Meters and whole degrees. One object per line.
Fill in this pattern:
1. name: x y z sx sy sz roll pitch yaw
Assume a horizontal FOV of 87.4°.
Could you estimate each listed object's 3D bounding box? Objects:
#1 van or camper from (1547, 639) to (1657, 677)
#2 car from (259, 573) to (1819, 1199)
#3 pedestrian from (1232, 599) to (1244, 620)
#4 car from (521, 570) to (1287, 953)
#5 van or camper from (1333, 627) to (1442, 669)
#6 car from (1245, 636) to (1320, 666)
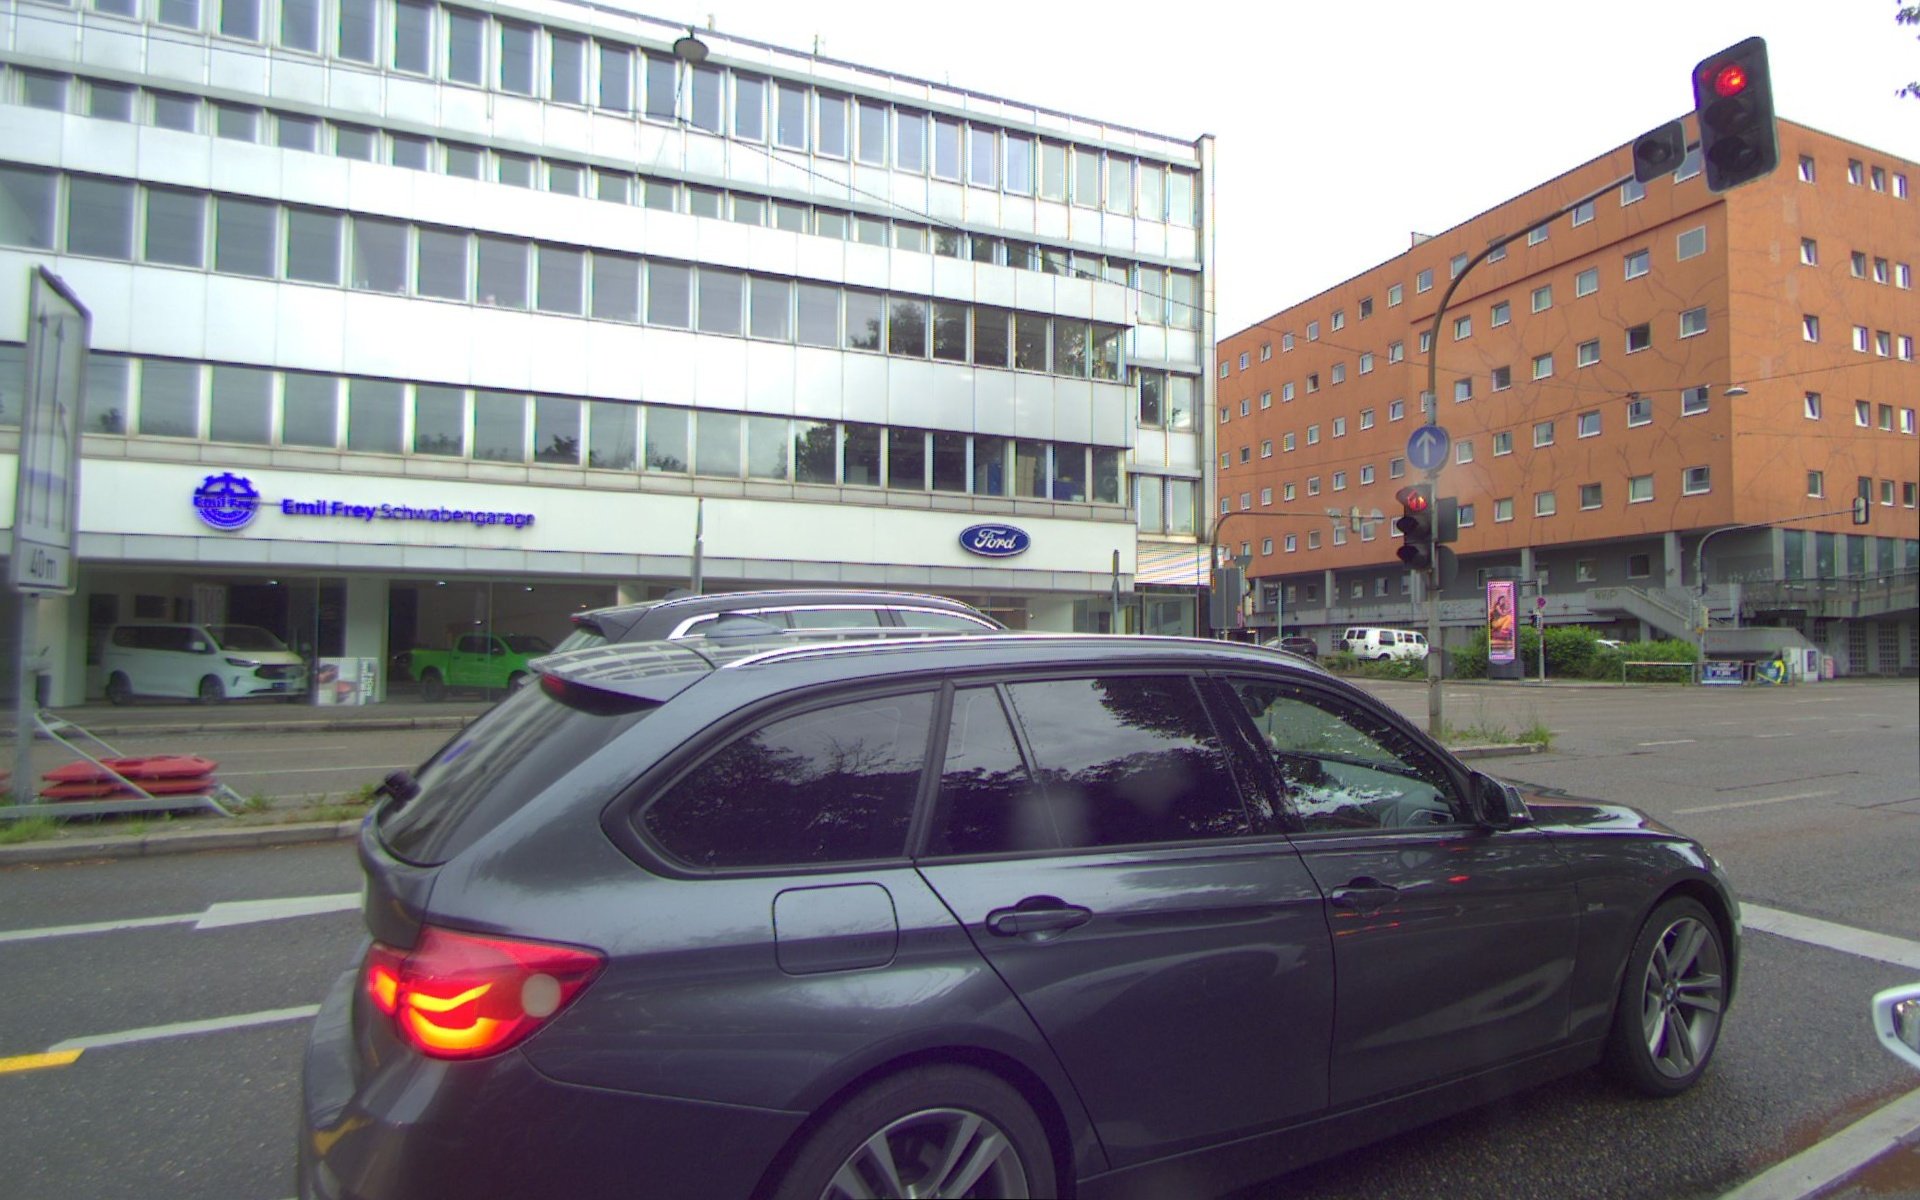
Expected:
1. van or camper: 29.912 2.679 46.917 1.887 1.648 3.978 1 -2 -23
2. car: 0.606 0.795 3.153 4.424 1.477 1.769 2 -3 -30
3. pedestrian: 24.415 0.839 88.274 0.714 1.864 0.761 2 0 -21
4. car: -0.258 0.765 6.240 4.389 1.678 1.802 2 0 -28
5. van or camper: 22.291 2.517 52.355 5.376 2.004 2.121 2 0 -23
6. car: 18.968 2.994 59.018 4.027 1.633 1.706 2 0 -23
